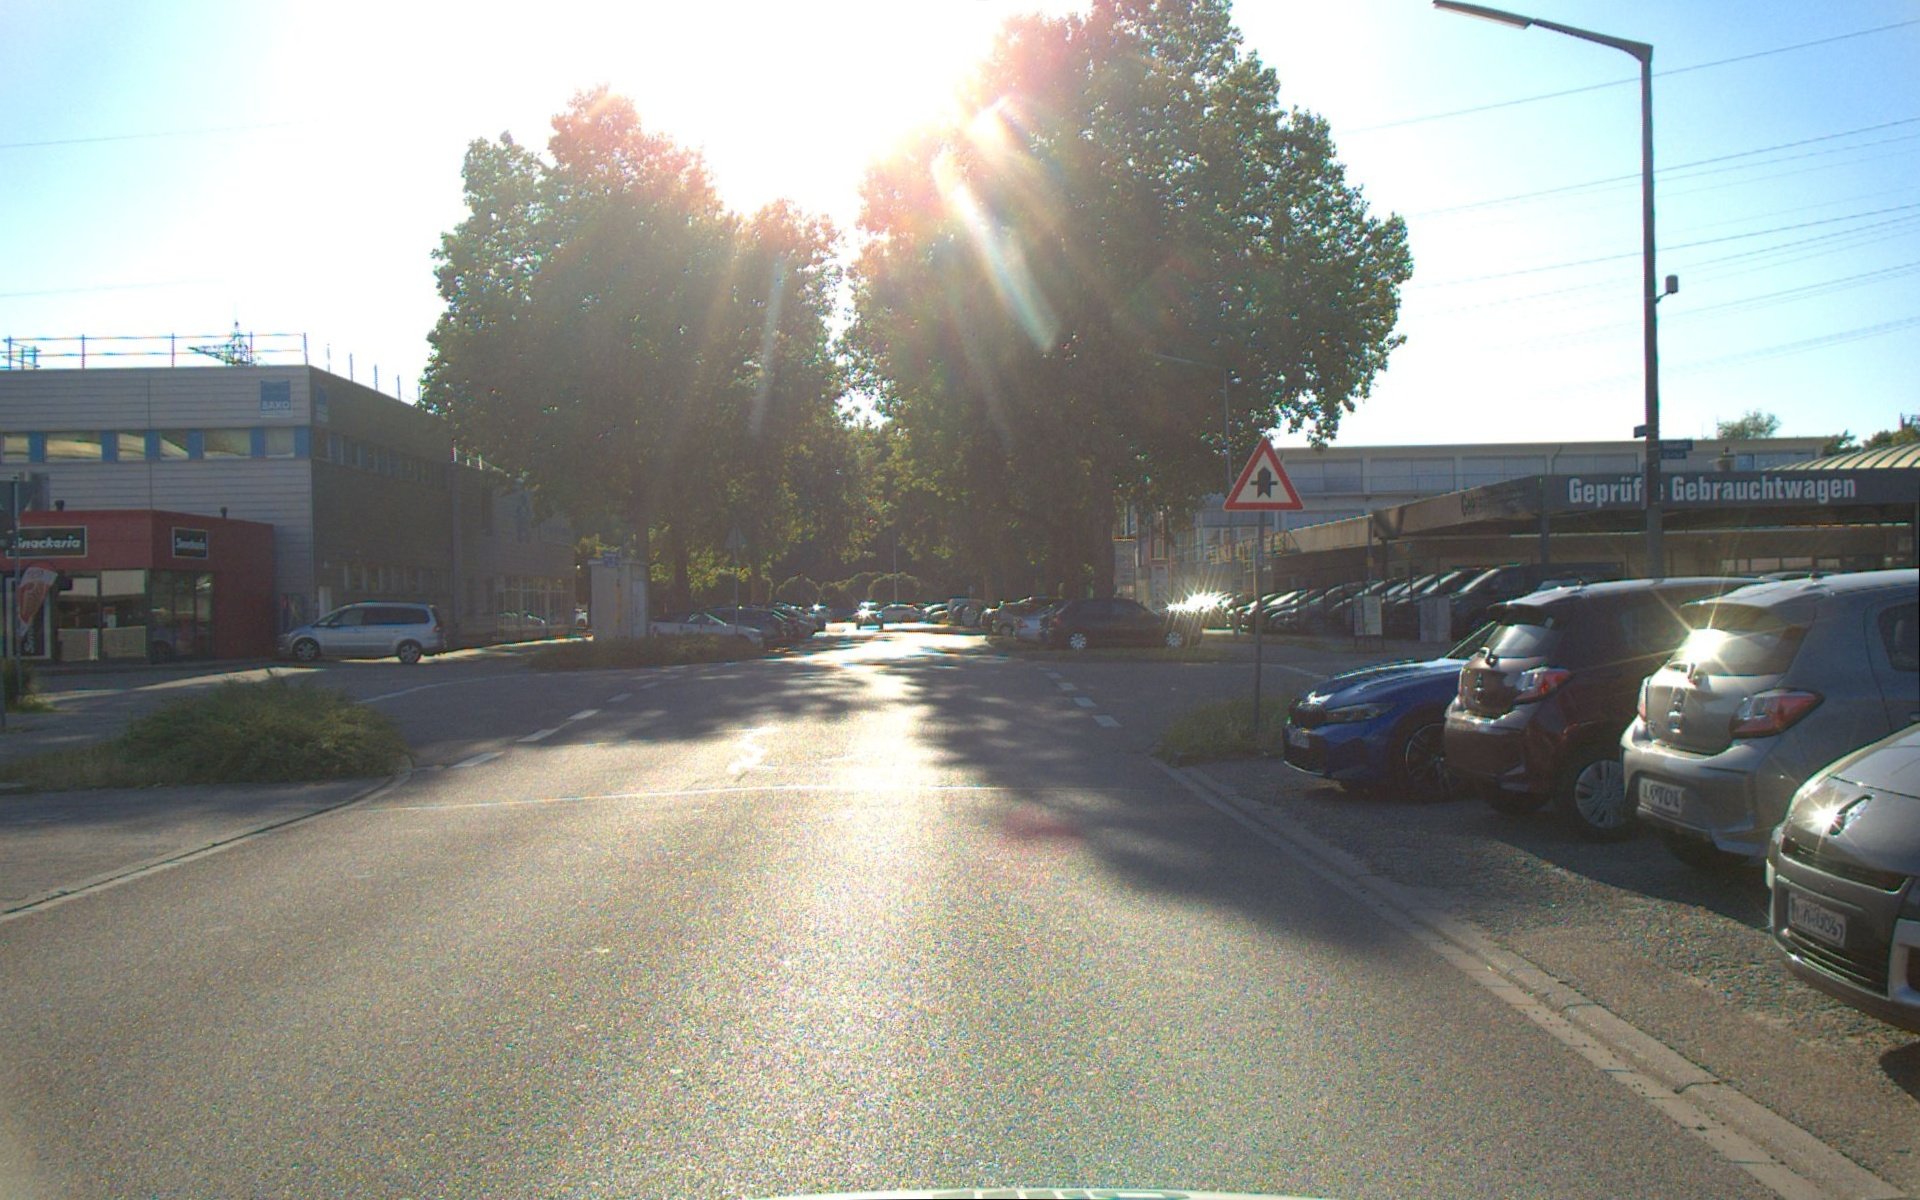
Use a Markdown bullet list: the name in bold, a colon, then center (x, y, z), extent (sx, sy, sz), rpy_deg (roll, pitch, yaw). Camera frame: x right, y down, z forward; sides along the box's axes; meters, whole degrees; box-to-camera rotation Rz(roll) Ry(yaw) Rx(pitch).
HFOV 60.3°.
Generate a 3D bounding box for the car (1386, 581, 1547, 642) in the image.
- **car**: center (14.214, 0.326, 46.535), extent (3.907, 1.663, 1.999), rpy_deg (0, -1, -3)

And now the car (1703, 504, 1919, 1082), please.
- **car**: center (4.707, 0.470, 5.108), extent (3.903, 1.641, 2.001), rpy_deg (-3, -1, 6)

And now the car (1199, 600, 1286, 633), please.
- **car**: center (13.804, 0.808, 81.033), extent (3.907, 1.573, 1.999), rpy_deg (0, -1, -3)

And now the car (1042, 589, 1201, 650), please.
- **car**: center (4.188, 0.510, 43.305), extent (3.906, 1.440, 1.999), rpy_deg (-2, -1, -2)

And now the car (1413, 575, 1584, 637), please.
- **car**: center (14.301, 0.177, 44.063), extent (3.907, 1.596, 1.999), rpy_deg (0, -1, -3)

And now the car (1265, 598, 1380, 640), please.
- **car**: center (13.775, 0.721, 63.003), extent (3.907, 1.573, 1.999), rpy_deg (0, -1, -3)

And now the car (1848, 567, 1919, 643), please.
- **car**: center (23.599, 0.124, 39.969), extent (1.954, 1.764, 3.997), rpy_deg (-1, -2, -3)

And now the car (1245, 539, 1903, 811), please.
- **car**: center (4.662, 0.543, 12.932), extent (4.436, 1.702, 1.751), rpy_deg (-3, -1, -5)

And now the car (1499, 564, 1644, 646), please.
- **car**: center (14.786, 0.173, 39.909), extent (1.905, 1.801, 3.975), rpy_deg (-4, -4, 42)

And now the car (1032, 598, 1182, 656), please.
- **car**: center (4.014, 0.737, 45.586), extent (3.906, 1.440, 1.999), rpy_deg (-2, -1, -2)

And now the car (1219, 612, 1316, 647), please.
- **car**: center (13.618, 1.318, 73.363), extent (3.907, 1.530, 1.999), rpy_deg (0, -1, -3)

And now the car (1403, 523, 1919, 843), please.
- **car**: center (5.070, 0.437, 10.554), extent (3.909, 1.681, 1.741), rpy_deg (-4, -1, -4)

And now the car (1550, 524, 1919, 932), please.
- **car**: center (5.199, 0.444, 8.049), extent (3.907, 1.681, 1.800), rpy_deg (-5, -1, -1)

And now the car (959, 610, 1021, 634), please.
- **car**: center (1.892, 1.406, 106.060), extent (3.906, 1.440, 1.826), rpy_deg (-2, -1, -2)

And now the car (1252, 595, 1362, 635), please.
- **car**: center (13.714, 0.600, 65.440), extent (3.907, 1.573, 1.999), rpy_deg (0, -1, -3)

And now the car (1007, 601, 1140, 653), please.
- **car**: center (3.441, 0.819, 50.624), extent (3.906, 1.440, 1.826), rpy_deg (-2, -1, -2)

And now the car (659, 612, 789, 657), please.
- **car**: center (-8.186, 1.199, 57.680), extent (4.327, 1.543, 1.999), rpy_deg (0, -1, -3)

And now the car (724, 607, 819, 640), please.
- **car**: center (-9.001, 1.130, 79.176), extent (4.325, 1.543, 2.000), rpy_deg (0, -1, 0)

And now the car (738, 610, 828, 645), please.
- **car**: center (-8.966, 1.401, 84.143), extent (4.325, 1.727, 2.000), rpy_deg (0, -1, 0)

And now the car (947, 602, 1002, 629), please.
- **car**: center (1.056, 1.139, 121.998), extent (3.906, 1.808, 1.826), rpy_deg (-2, -1, -2)

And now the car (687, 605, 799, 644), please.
- **car**: center (-8.874, 1.009, 67.950), extent (4.325, 1.543, 2.000), rpy_deg (0, -1, 0)

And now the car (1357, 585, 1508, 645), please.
- **car**: center (13.999, 0.451, 49.170), extent (3.907, 1.730, 1.999), rpy_deg (0, -1, -3)

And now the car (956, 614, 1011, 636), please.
- **car**: center (1.673, 1.814, 118.458), extent (3.906, 1.440, 1.826), rpy_deg (-2, -1, -2)

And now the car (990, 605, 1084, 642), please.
- **car**: center (3.314, 1.009, 71.501), extent (3.906, 1.440, 1.826), rpy_deg (-2, -1, -2)

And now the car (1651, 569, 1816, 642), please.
- **car**: center (18.518, 0.166, 39.803), extent (1.954, 1.630, 3.997), rpy_deg (-1, -1, -3)

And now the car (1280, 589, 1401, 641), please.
- **car**: center (13.872, 0.540, 60.454), extent (3.907, 1.864, 1.999), rpy_deg (0, -1, -3)

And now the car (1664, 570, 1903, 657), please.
- **car**: center (16.939, 0.302, 34.153), extent (3.908, 1.633, 1.998), rpy_deg (-1, -3, -4)

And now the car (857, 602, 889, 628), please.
- **car**: center (-5.647, 0.993, 107.559), extent (1.953, 1.637, 3.999), rpy_deg (1, -1, -1)

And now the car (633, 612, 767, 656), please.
- **car**: center (-8.629, 1.132, 55.209), extent (4.331, 1.427, 1.997), rpy_deg (0, -1, -7)

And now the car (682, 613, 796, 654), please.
- **car**: center (-8.615, 1.309, 64.811), extent (4.329, 1.543, 1.998), rpy_deg (0, -1, -5)

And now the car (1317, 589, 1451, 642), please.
- **car**: center (14.117, 0.535, 55.206), extent (3.907, 1.730, 1.999), rpy_deg (0, -1, -3)

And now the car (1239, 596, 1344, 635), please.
- **car**: center (13.633, 0.632, 68.166), extent (3.907, 1.573, 1.999), rpy_deg (0, -1, -3)

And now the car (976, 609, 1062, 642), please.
- **car**: center (2.746, 1.208, 77.464), extent (3.906, 1.405, 1.826), rpy_deg (-2, -1, -2)

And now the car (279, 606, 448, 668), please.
- **car**: center (-17.438, 1.070, 48.604), extent (4.556, 1.771, 1.990), rpy_deg (0, -1, -17)
